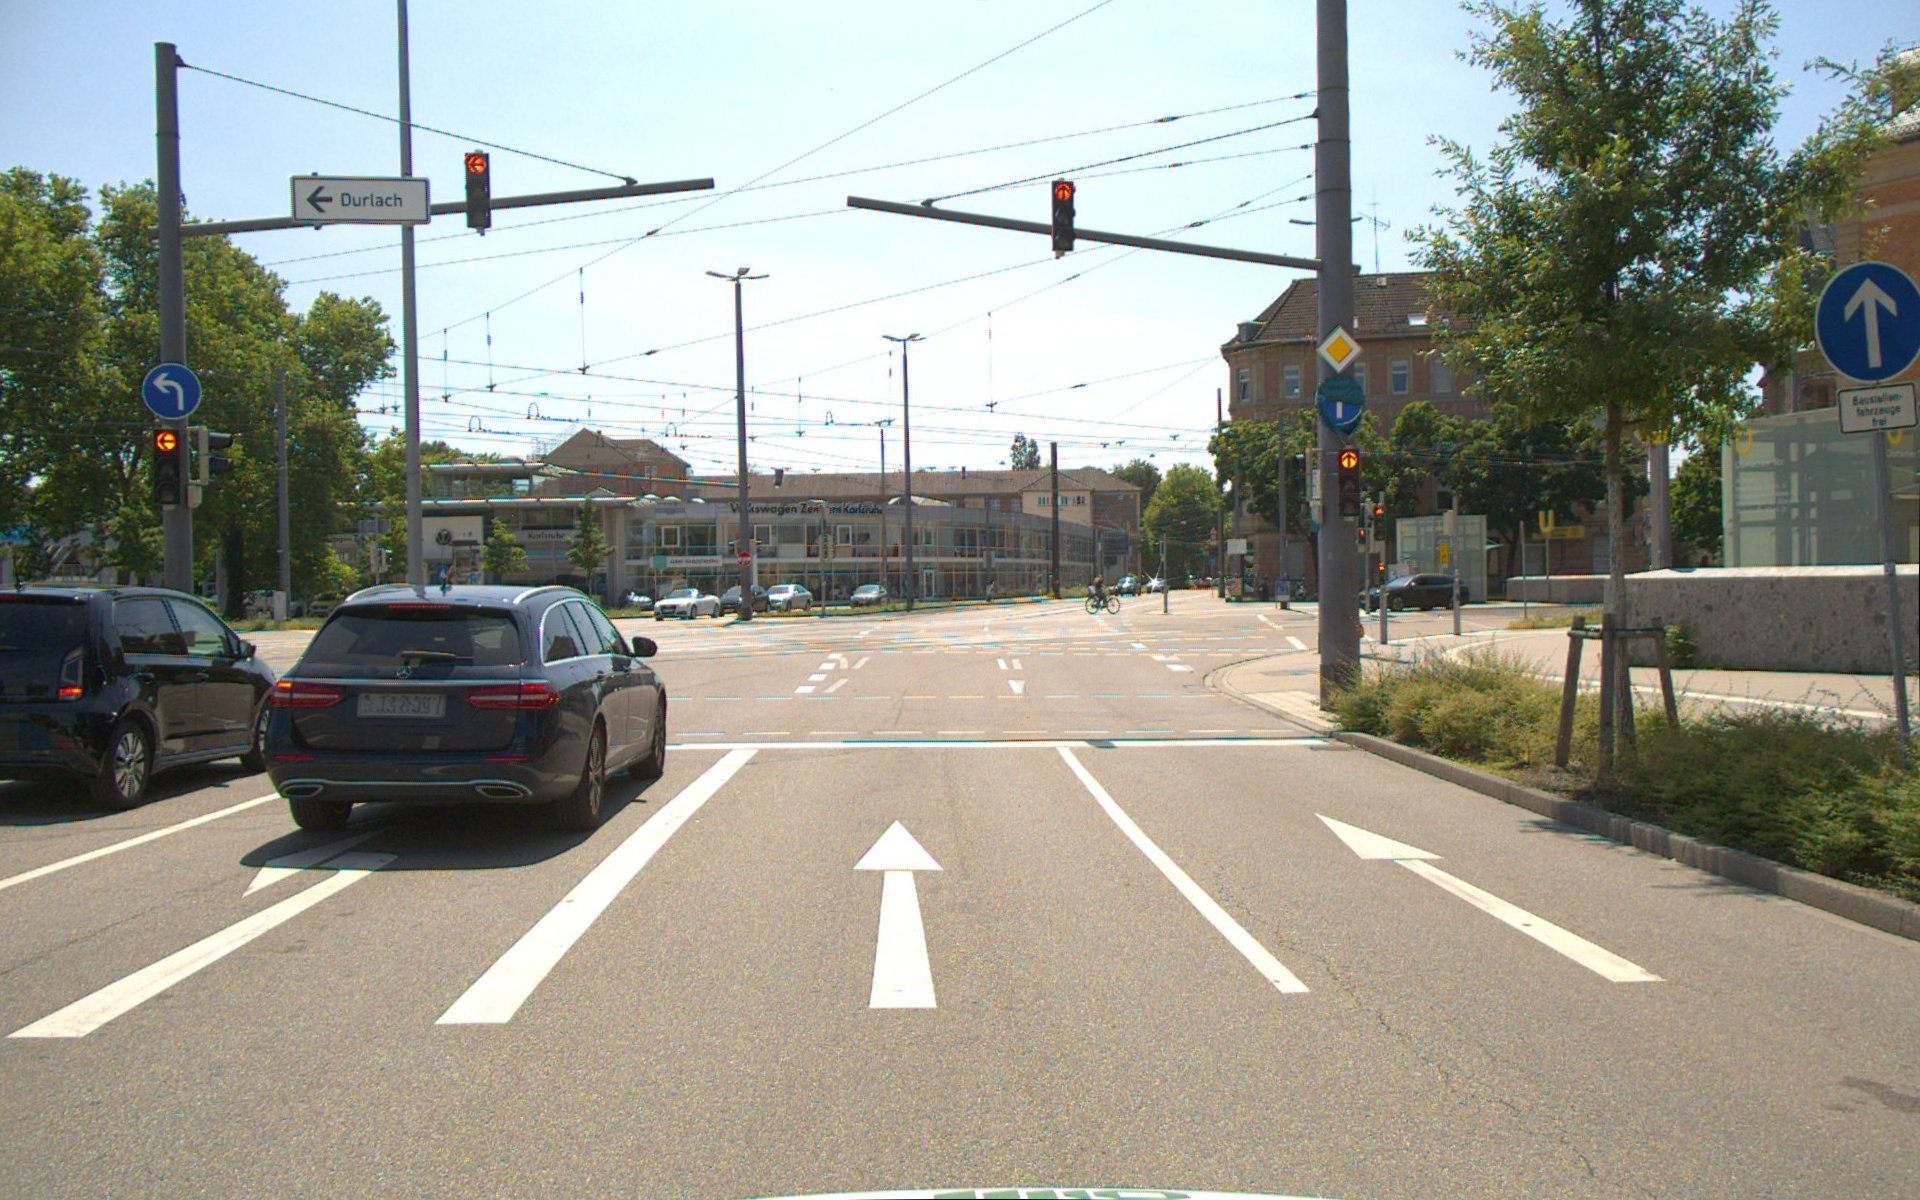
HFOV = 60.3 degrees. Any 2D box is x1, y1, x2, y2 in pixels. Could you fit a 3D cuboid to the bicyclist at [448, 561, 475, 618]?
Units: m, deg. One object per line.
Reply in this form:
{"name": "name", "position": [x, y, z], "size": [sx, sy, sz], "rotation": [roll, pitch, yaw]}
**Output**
{"name": "bicyclist", "position": [-17.617, -0.371, 58.437], "size": [0.748, 1.971, 0.660], "rotation": [0, 2, -4]}

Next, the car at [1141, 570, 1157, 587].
{"name": "car", "position": [19.479, -2.223, 170.344], "size": [1.552, 1.555, 3.718], "rotation": [0, 3, 4]}

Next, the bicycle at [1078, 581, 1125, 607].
{"name": "bicycle", "position": [6.385, -0.270, 74.615], "size": [2.129, 1.126, 0.454], "rotation": [-1, 2, -20]}

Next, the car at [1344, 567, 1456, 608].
{"name": "car", "position": [17.188, -0.488, 64.675], "size": [4.043, 1.476, 1.687], "rotation": [-1, 3, -21]}

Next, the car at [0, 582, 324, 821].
{"name": "car", "position": [-6.256, 0.627, 12.326], "size": [1.588, 1.489, 3.999], "rotation": [-1, 0, -2]}

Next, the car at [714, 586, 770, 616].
{"name": "car", "position": [-10.676, 0.030, 81.121], "size": [1.505, 1.300, 3.542], "rotation": [0, 3, 15]}

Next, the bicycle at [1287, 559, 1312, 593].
{"name": "bicycle", "position": [18.798, -1.337, 91.647], "size": [0.599, 1.819, 3.181], "rotation": [0, 2, -2]}

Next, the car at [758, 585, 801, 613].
{"name": "car", "position": [-9.479, -0.074, 86.987], "size": [1.401, 1.307, 3.265], "rotation": [0, 3, 10]}

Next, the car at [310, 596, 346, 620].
{"name": "car", "position": [-42.174, 0.506, 110.474], "size": [1.481, 1.443, 3.416], "rotation": [0, 2, -8]}

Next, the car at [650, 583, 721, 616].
{"name": "car", "position": [-12.387, -0.028, 74.946], "size": [1.585, 1.414, 4.128], "rotation": [-1, 1, 15]}

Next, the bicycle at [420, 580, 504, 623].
{"name": "bicycle", "position": [-17.587, 0.056, 58.451], "size": [2.770, 1.488, 0.633], "rotation": [0, 2, -4]}

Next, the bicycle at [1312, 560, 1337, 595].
{"name": "bicycle", "position": [20.205, -1.265, 91.617], "size": [0.599, 1.819, 3.181], "rotation": [0, 2, -2]}

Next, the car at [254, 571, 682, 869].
{"name": "car", "position": [-3.058, 0.632, 11.293], "size": [1.682, 1.584, 4.585], "rotation": [-1, 0, -2]}

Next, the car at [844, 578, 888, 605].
{"name": "car", "position": [-5.577, -0.505, 98.477], "size": [1.537, 1.452, 3.617], "rotation": [0, 3, 15]}

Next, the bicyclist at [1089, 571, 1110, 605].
{"name": "bicyclist", "position": [6.296, -0.561, 74.580], "size": [0.721, 1.505, 0.652], "rotation": [-1, 2, -21]}

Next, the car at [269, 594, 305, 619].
{"name": "car", "position": [-45.114, 0.408, 110.946], "size": [1.398, 1.534, 3.433], "rotation": [-1, 3, -8]}

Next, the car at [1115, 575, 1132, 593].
{"name": "car", "position": [14.481, -1.455, 146.716], "size": [1.498, 1.484, 3.555], "rotation": [0, 3, 6]}
